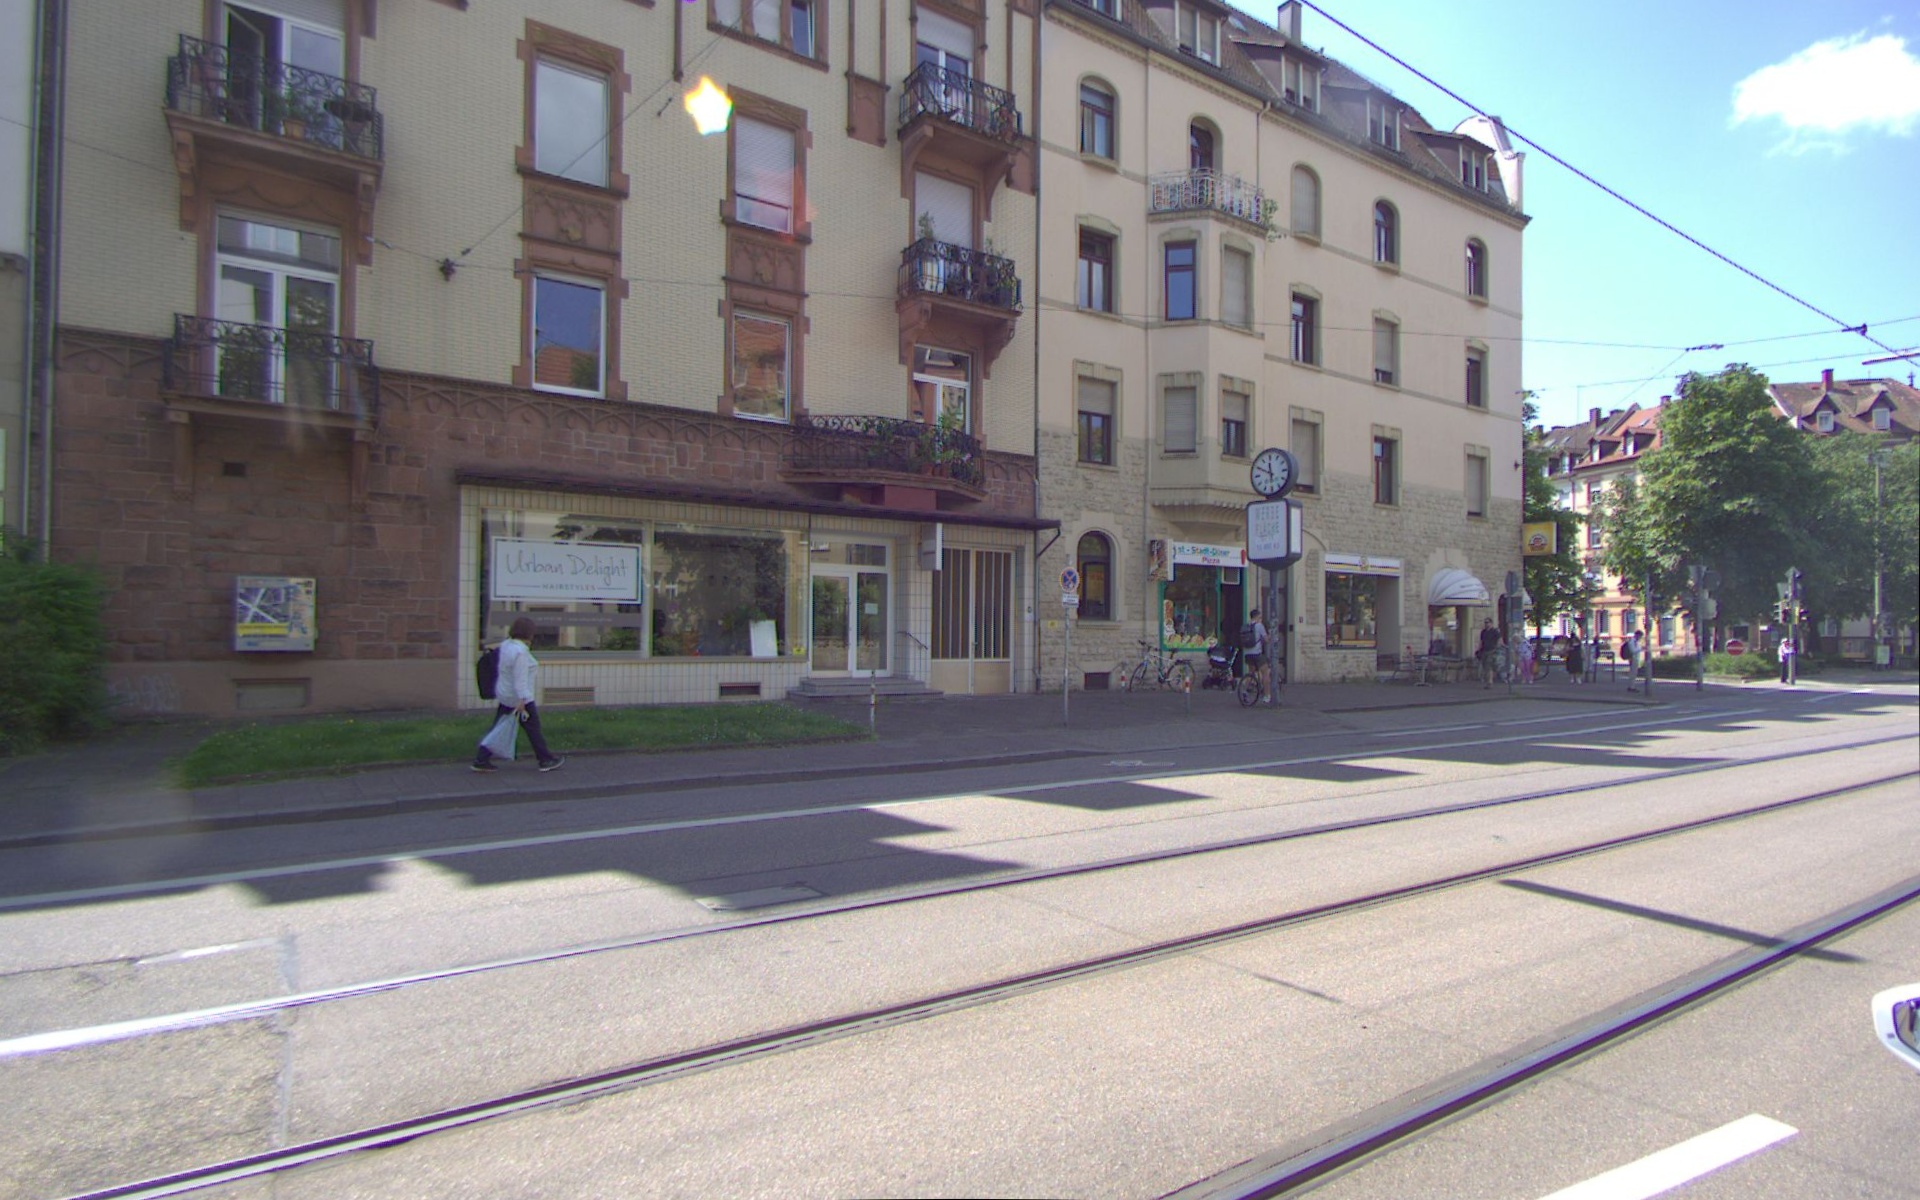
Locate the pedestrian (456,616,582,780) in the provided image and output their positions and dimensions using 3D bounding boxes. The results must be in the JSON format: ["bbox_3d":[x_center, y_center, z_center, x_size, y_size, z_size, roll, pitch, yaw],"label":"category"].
[{"bbox_3d":[-4.497,0.955,10.235,0.975,1.563,0.894,2,-2,-38],"label":"pedestrian"}]

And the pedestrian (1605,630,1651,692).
[{"bbox_3d":[19.343,1.755,29.103,0.767,1.755,0.855,1,0,-31],"label":"pedestrian"}]

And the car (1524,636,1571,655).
[{"bbox_3d":[49.666,3.849,85.016,1.654,1.491,3.467,1,-2,-8],"label":"car"}]

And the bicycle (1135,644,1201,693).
[{"bbox_3d":[4.783,1.573,23.093,1.439,1.080,0.370,2,-1,-10],"label":"bicycle"}]

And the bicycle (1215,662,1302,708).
[{"bbox_3d":[6.110,1.720,20.559,1.802,0.828,0.747,2,0,-35],"label":"bicycle"}]

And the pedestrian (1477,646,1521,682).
[{"bbox_3d":[16.907,2.011,31.504,0.873,1.092,0.911,2,-2,-32],"label":"pedestrian"}]

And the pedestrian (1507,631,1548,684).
[{"bbox_3d":[17.730,1.781,31.367,0.910,1.615,0.801,2,-2,-35],"label":"pedestrian"}]

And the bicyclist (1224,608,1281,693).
[{"bbox_3d":[5.959,1.023,20.486,0.824,1.685,0.749,2,-1,-40],"label":"bicyclist"}]

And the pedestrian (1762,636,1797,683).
[{"bbox_3d":[31.038,2.234,38.069,0.825,1.745,0.918,0,-2,26],"label":"pedestrian"}]

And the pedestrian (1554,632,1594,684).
[{"bbox_3d":[19.919,1.867,32.592,0.846,1.657,1.027,0,-2,16],"label":"pedestrian"}]

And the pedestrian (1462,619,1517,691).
[{"bbox_3d":[14.808,1.522,28.072,1.153,1.916,0.895,2,0,-34],"label":"pedestrian"}]

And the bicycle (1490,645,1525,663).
[{"bbox_3d":[33.104,3.257,60.728,1.825,1.046,0.543,-1,-2,35],"label":"bicycle"}]

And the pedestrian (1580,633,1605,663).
[{"bbox_3d":[40.469,3.097,64.275,1.003,1.893,0.997,1,-2,-23],"label":"pedestrian"}]

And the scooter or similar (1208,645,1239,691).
[{"bbox_3d":[6.423,1.639,24.467,0.682,1.058,1.210,2,-1,16],"label":"scooter or similar"}]

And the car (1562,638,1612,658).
[{"bbox_3d":[50.615,3.870,81.151,1.654,1.491,3.467,1,-2,-8],"label":"car"}]

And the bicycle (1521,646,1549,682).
[{"bbox_3d":[19.411,2.165,33.921,0.534,1.143,1.683,0,-4,19],"label":"bicycle"}]
